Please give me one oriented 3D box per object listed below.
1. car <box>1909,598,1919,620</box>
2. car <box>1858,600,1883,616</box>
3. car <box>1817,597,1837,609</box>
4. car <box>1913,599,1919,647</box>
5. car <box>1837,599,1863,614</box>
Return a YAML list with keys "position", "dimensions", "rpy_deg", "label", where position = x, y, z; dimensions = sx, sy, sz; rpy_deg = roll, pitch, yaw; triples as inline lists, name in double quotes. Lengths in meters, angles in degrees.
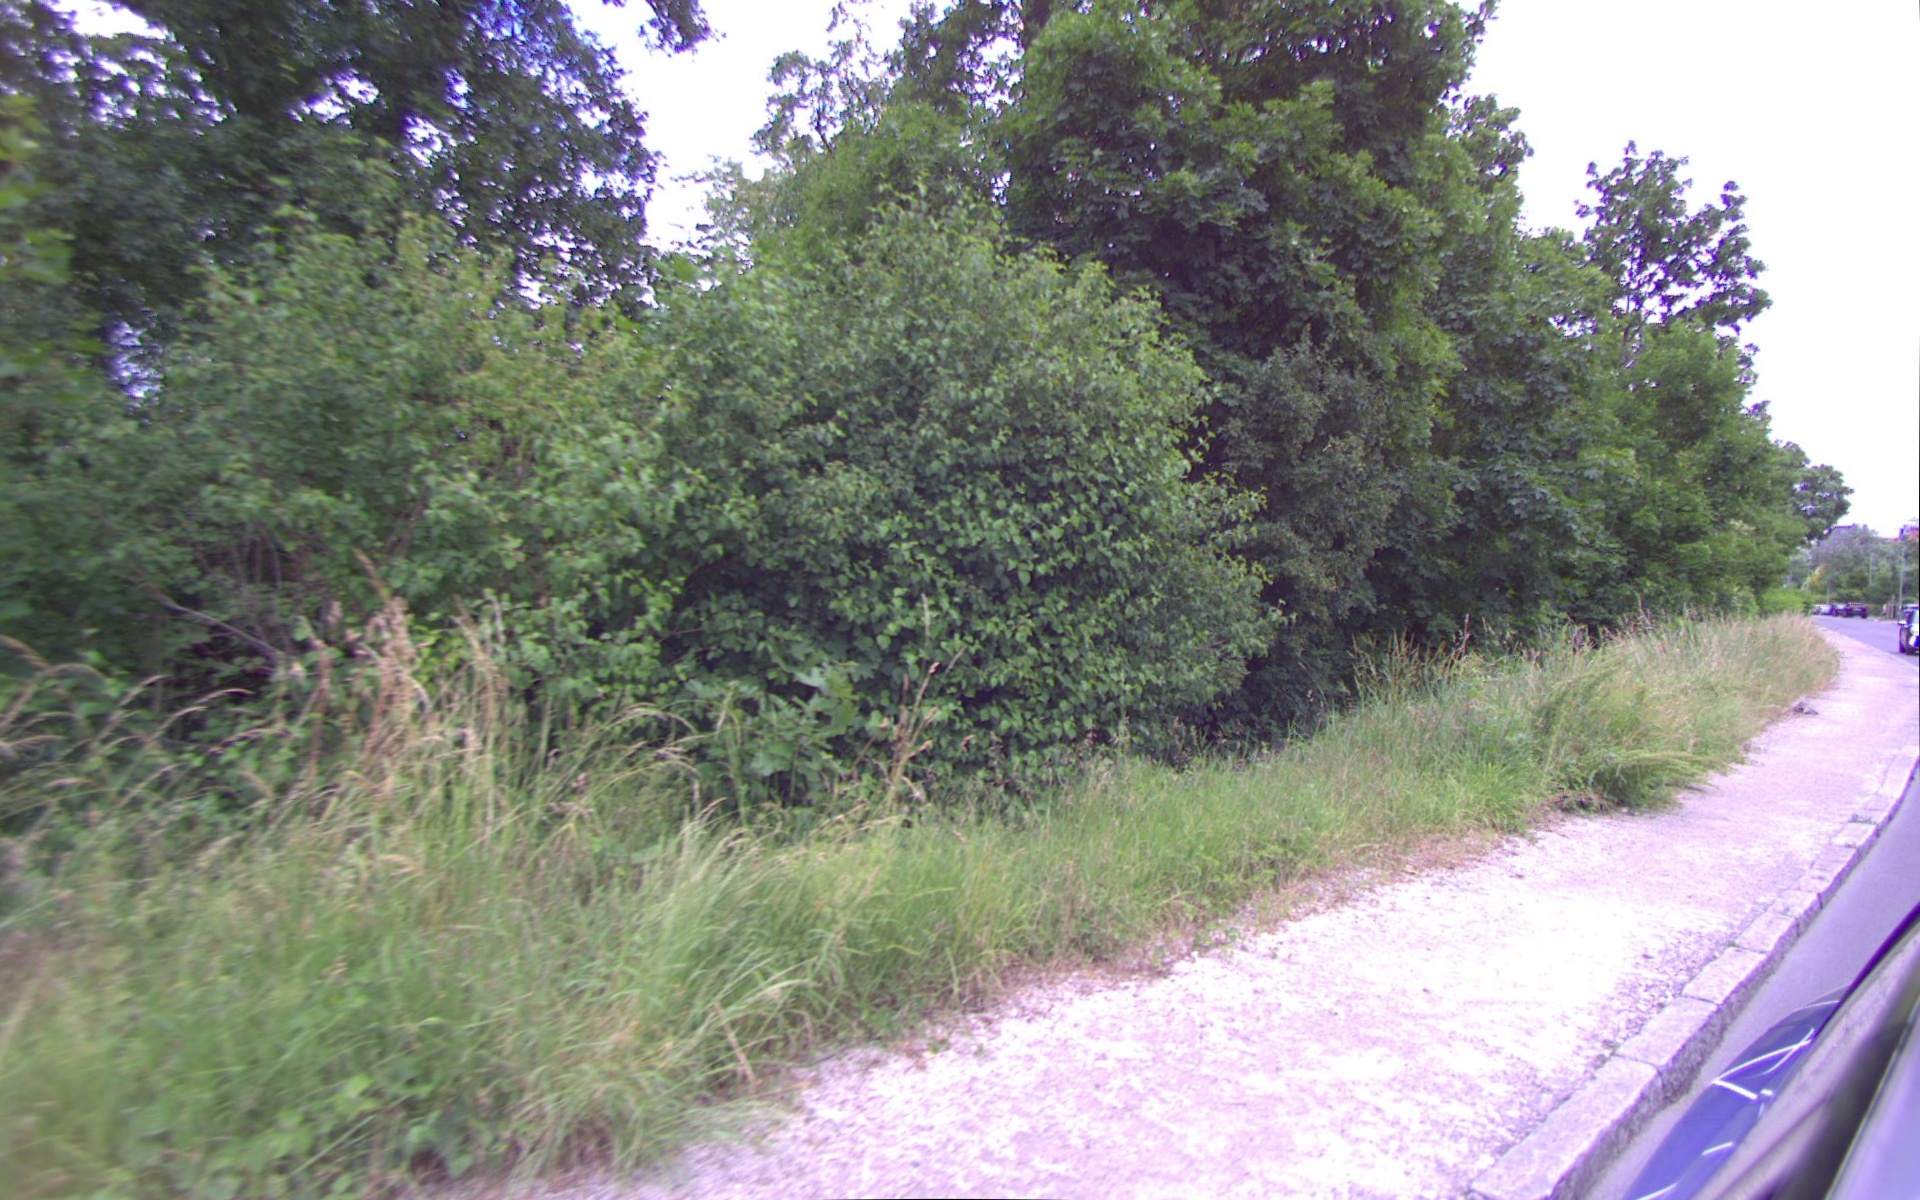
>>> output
- position: [72.917, 0.669, 76.183]
  dimensions: [1.793, 1.627, 4.663]
  rpy_deg: [2, 1, 39]
  label: "car"
- position: [104.018, 0.901, 115.683]
  dimensions: [1.915, 1.701, 4.134]
  rpy_deg: [2, 1, 40]
  label: "car"
- position: [126.542, 0.436, 147.732]
  dimensions: [1.913, 1.701, 4.139]
  rpy_deg: [1, 1, 37]
  label: "car"
- position: [31.520, 0.749, 32.036]
  dimensions: [1.705, 1.493, 4.134]
  rpy_deg: [2, 1, 40]
  label: "car"
- position: [109.635, 0.798, 124.725]
  dimensions: [1.911, 1.701, 4.142]
  rpy_deg: [1, 1, 35]
  label: "car"
